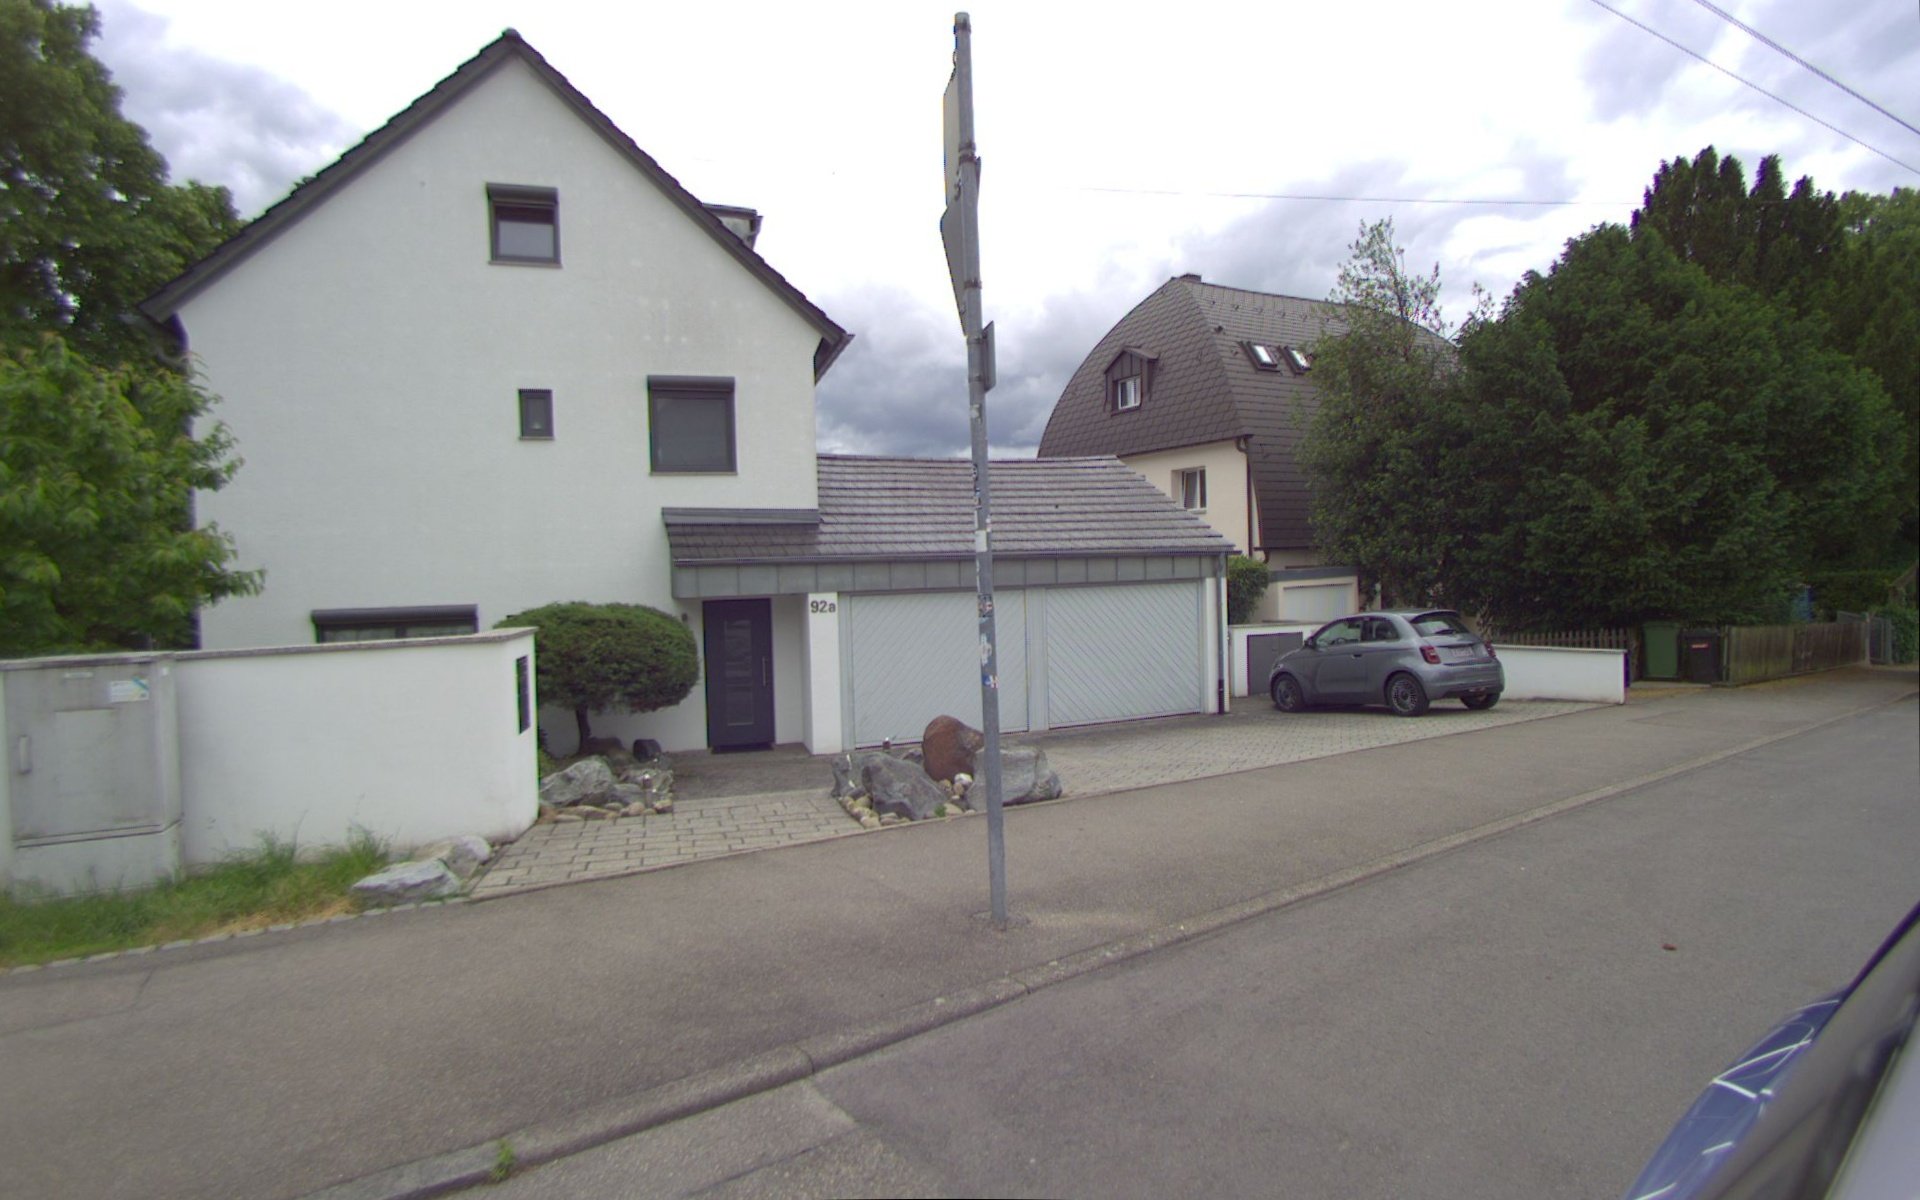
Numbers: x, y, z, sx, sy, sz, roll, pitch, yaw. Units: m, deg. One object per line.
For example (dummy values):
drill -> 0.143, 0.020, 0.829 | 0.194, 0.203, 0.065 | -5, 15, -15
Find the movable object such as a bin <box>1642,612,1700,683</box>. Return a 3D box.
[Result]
movable object such as a bin -> 12.685, 0.847, 18.051 | 0.935, 1.223, 0.598 | 3, -5, -41

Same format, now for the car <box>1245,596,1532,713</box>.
car -> 6.342, 0.853, 15.470 | 1.657, 1.517, 3.863 | -1, -4, -24

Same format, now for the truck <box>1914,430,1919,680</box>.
truck -> 21.575, -0.825, 19.986 | 7.813, 4.608, 3.151 | 0, 1, -41

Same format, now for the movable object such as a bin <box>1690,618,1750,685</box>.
movable object such as a bin -> 13.177, 0.897, 17.543 | 0.935, 1.120, 0.598 | 3, -5, -41
